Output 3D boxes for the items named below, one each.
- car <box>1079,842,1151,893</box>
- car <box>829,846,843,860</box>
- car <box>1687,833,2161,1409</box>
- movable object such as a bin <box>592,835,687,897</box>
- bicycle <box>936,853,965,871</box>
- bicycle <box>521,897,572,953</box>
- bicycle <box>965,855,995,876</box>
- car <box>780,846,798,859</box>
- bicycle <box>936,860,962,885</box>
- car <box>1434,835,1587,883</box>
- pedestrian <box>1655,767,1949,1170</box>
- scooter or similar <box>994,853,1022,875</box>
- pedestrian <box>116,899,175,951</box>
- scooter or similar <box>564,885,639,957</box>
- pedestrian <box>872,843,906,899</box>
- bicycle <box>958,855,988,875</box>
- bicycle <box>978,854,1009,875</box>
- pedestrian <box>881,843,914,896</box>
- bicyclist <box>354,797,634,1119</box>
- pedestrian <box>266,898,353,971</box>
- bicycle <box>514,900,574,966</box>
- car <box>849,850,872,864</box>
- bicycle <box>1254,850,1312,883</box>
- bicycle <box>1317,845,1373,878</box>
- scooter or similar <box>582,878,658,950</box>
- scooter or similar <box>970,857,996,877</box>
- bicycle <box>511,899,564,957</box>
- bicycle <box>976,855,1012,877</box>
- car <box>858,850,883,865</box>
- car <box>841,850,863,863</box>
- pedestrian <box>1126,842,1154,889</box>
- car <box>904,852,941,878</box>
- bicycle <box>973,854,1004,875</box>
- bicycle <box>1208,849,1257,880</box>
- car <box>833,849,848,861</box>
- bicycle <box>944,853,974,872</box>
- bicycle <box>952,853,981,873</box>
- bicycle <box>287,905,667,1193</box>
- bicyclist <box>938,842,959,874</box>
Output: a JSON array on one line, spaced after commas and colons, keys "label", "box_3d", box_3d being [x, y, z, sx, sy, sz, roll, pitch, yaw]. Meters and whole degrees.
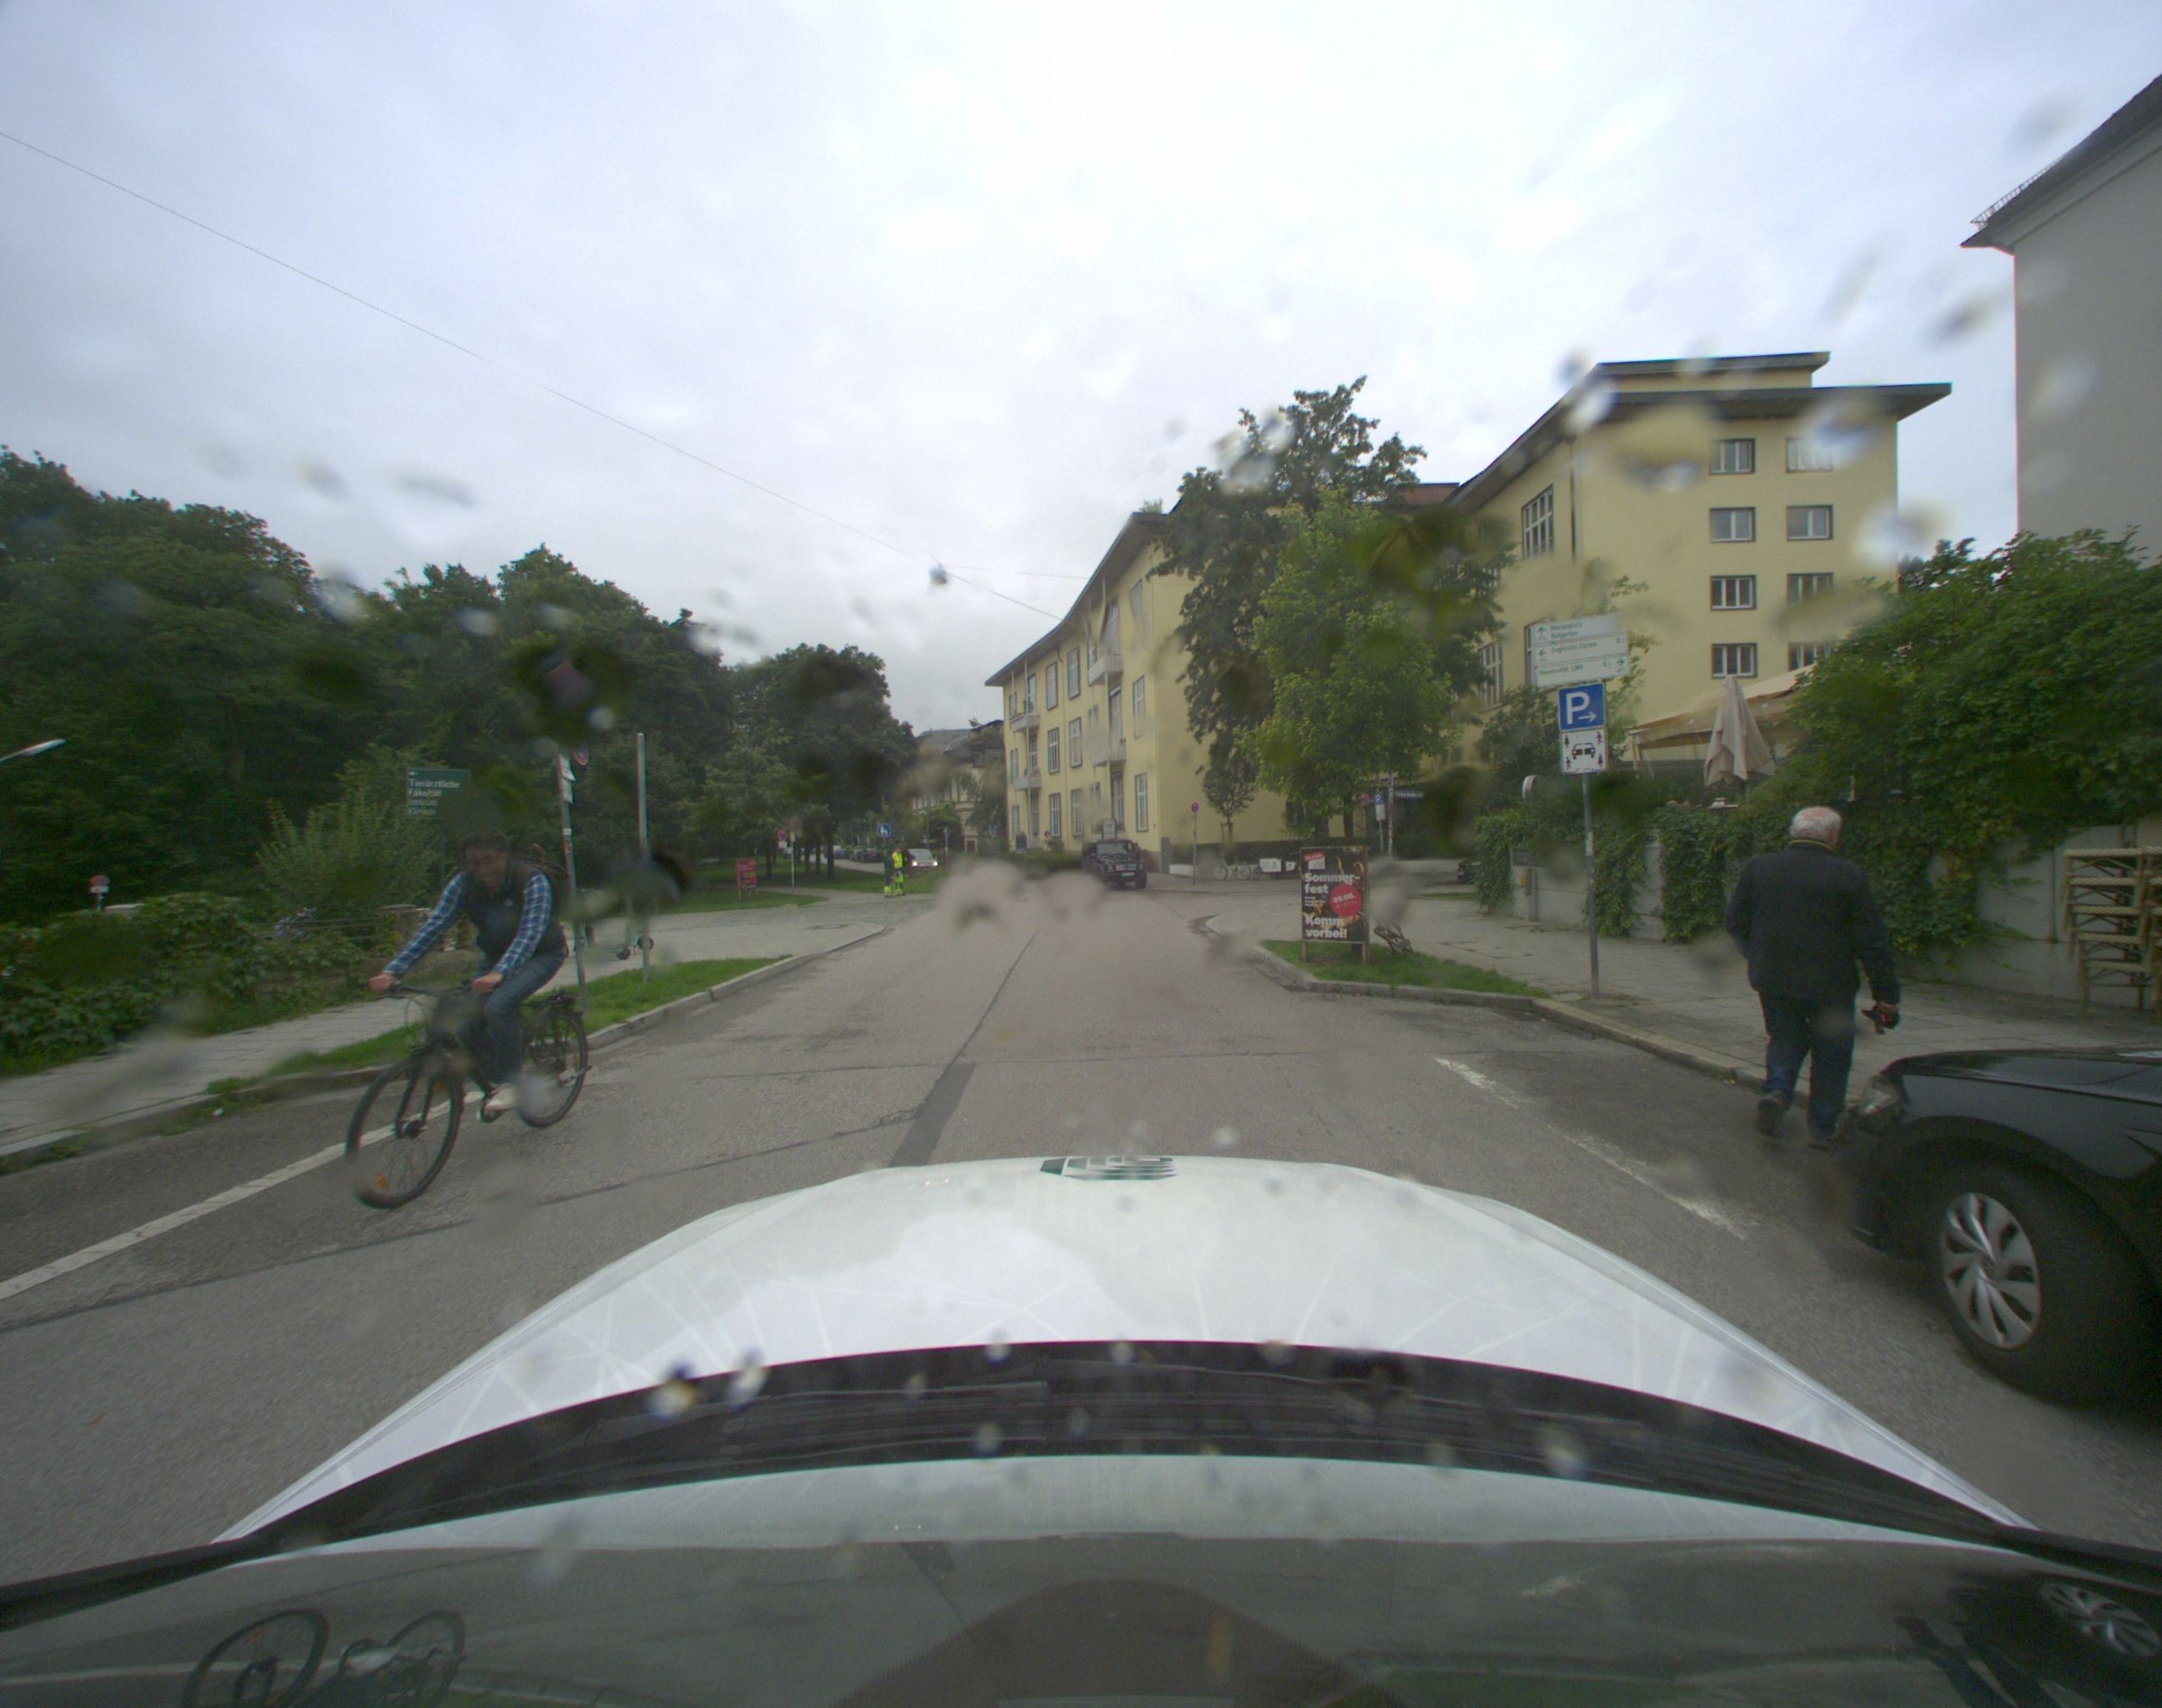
[{"label": "car", "box_3d": [1.261, 0.494, 32.500, 1.764, 1.874, 4.360, 2, 0, -13]}, {"label": "car", "box_3d": [-38.324, -0.137, 127.317, 1.998, 2.159, 3.977, -2, 0, -17]}, {"label": "car", "box_3d": [3.497, 0.676, 1.323, 1.673, 1.389, 4.301, 2, 0, -3]}, {"label": "movable object such as a bin", "box_3d": [-24.354, 0.632, 45.028, 1.974, 3.213, 4.026, -3, 0, 35]}, {"label": "bicycle", "box_3d": [-10.155, 0.603, 63.367, 2.154, 1.305, 0.730, -2, 0, -17]}, {"label": "bicycle", "box_3d": [-10.050, 1.316, 15.302, 1.563, 0.990, 0.303, -2, 0, 39]}, {"label": "bicycle", "box_3d": [-6.832, 0.753, 55.035, 0.725, 1.305, 2.170, -2, 0, 36]}, {"label": "car", "box_3d": [-41.623, -0.149, 115.994, 2.003, 1.691, 3.968, -3, 0, -24]}, {"label": "bicycle", "box_3d": [-6.650, 0.921, 41.039, 0.746, 1.215, 2.127, -2, 0, -23]}, {"label": "car", "box_3d": [14.410, 0.182, 27.470, 4.228, 1.446, 1.699, -2, -1, 2]}, {"label": "pedestrian", "box_3d": [3.803, 0.541, 4.325, 0.961, 1.801, 0.925, 3, -5, -37]}, {"label": "scooter or similar", "box_3d": [-4.493, 0.608, 50.206, 0.725, 1.305, 2.168, -2, 0, 24]}, {"label": "pedestrian", "box_3d": [-32.104, 2.423, 27.968, 0.938, 1.688, 0.891, -2, 0, 3]}, {"label": "scooter or similar", "box_3d": [-8.196, 1.135, 13.922, 1.108, 1.188, 0.346, -1, 0, 10]}, {"label": "pedestrian", "box_3d": [-7.168, 0.627, 30.449, 0.927, 2.013, 0.958, -2, 0, 4]}, {"label": "bicycle", "box_3d": [-7.366, 0.737, 55.729, 0.725, 1.305, 2.170, -2, 0, 36]}, {"label": "bicycle", "box_3d": [-5.733, 0.678, 53.227, 0.725, 1.305, 2.170, -2, 0, 36]}, {"label": "pedestrian", "box_3d": [-7.107, 0.599, 31.617, 0.927, 2.013, 0.958, -2, 0, 4]}, {"label": "bicyclist", "box_3d": [-3.228, 0.525, 4.593, 0.860, 1.607, 0.947, -1, -1, -1]}, {"label": "pedestrian", "box_3d": [-15.663, 1.609, 16.556, 0.773, 1.329, 0.992, -3, 0, -6]}, {"label": "bicycle", "box_3d": [-8.875, 1.285, 13.499, 0.544, 0.974, 1.147, -2, 0, -20]}, {"label": "car", "box_3d": [-26.964, 0.337, 99.632, 2.004, 1.606, 3.965, -2, 0, -26]}, {"label": "bicycle", "box_3d": [7.743, 0.486, 31.275, 2.049, 1.201, 0.598, -1, 0, 23]}, {"label": "bicycle", "box_3d": [9.999, 0.271, 30.904, 1.913, 1.201, 0.596, -1, 0, 4]}, {"label": "scooter or similar", "box_3d": [-8.316, 1.058, 14.710, 0.341, 1.188, 1.126, -1, 0, 38]}, {"label": "scooter or similar", "box_3d": [-6.538, 0.866, 54.464, 0.725, 1.305, 1.741, -2, 0, 32]}, {"label": "bicycle", "box_3d": [-9.845, 1.315, 14.735, 1.563, 0.990, 0.303, -2, 0, 39]}, {"label": "bicycle", "box_3d": [-5.433, 0.745, 51.117, 2.166, 1.305, 0.726, -2, 0, -37]}, {"label": "car", "box_3d": [-24.524, 0.443, 94.595, 2.004, 1.606, 3.965, -2, 0, -26]}, {"label": "car", "box_3d": [-29.421, 0.356, 104.665, 2.004, 1.606, 3.965, -2, 0, -26]}, {"label": "pedestrian", "box_3d": [2.346, 0.438, 32.546, 0.875, 1.823, 0.795, -1, 0, -12]}, {"label": "car", "box_3d": [-9.878, 0.648, 50.668, 1.918, 1.471, 3.979, -1, 0, -16]}, {"label": "bicycle", "box_3d": [-6.131, 0.675, 54.082, 0.725, 1.305, 2.170, -2, 0, 36]}, {"label": "bicycle", "box_3d": [6.071, 0.415, 32.732, 0.599, 1.201, 1.904, -2, 0, -44]}, {"label": "car", "box_3d": [-35.080, 0.131, 118.761, 1.998, 1.606, 3.977, -2, 0, -17]}, {"label": "bicycle", "box_3d": [-9.195, 0.631, 61.468, 2.154, 1.305, 0.730, -2, 0, -17]}, {"label": "bicycle", "box_3d": [-8.056, 0.636, 57.475, 0.725, 1.305, 2.170, -2, 0, 36]}, {"label": "bicycle", "box_3d": [-3.227, 0.939, 4.667, 0.668, 1.158, 2.003, -1, 0, 0]}, {"label": "bicyclist", "box_3d": [-6.682, 0.205, 41.051, 0.746, 1.521, 0.938, -2, 0, -23]}]
